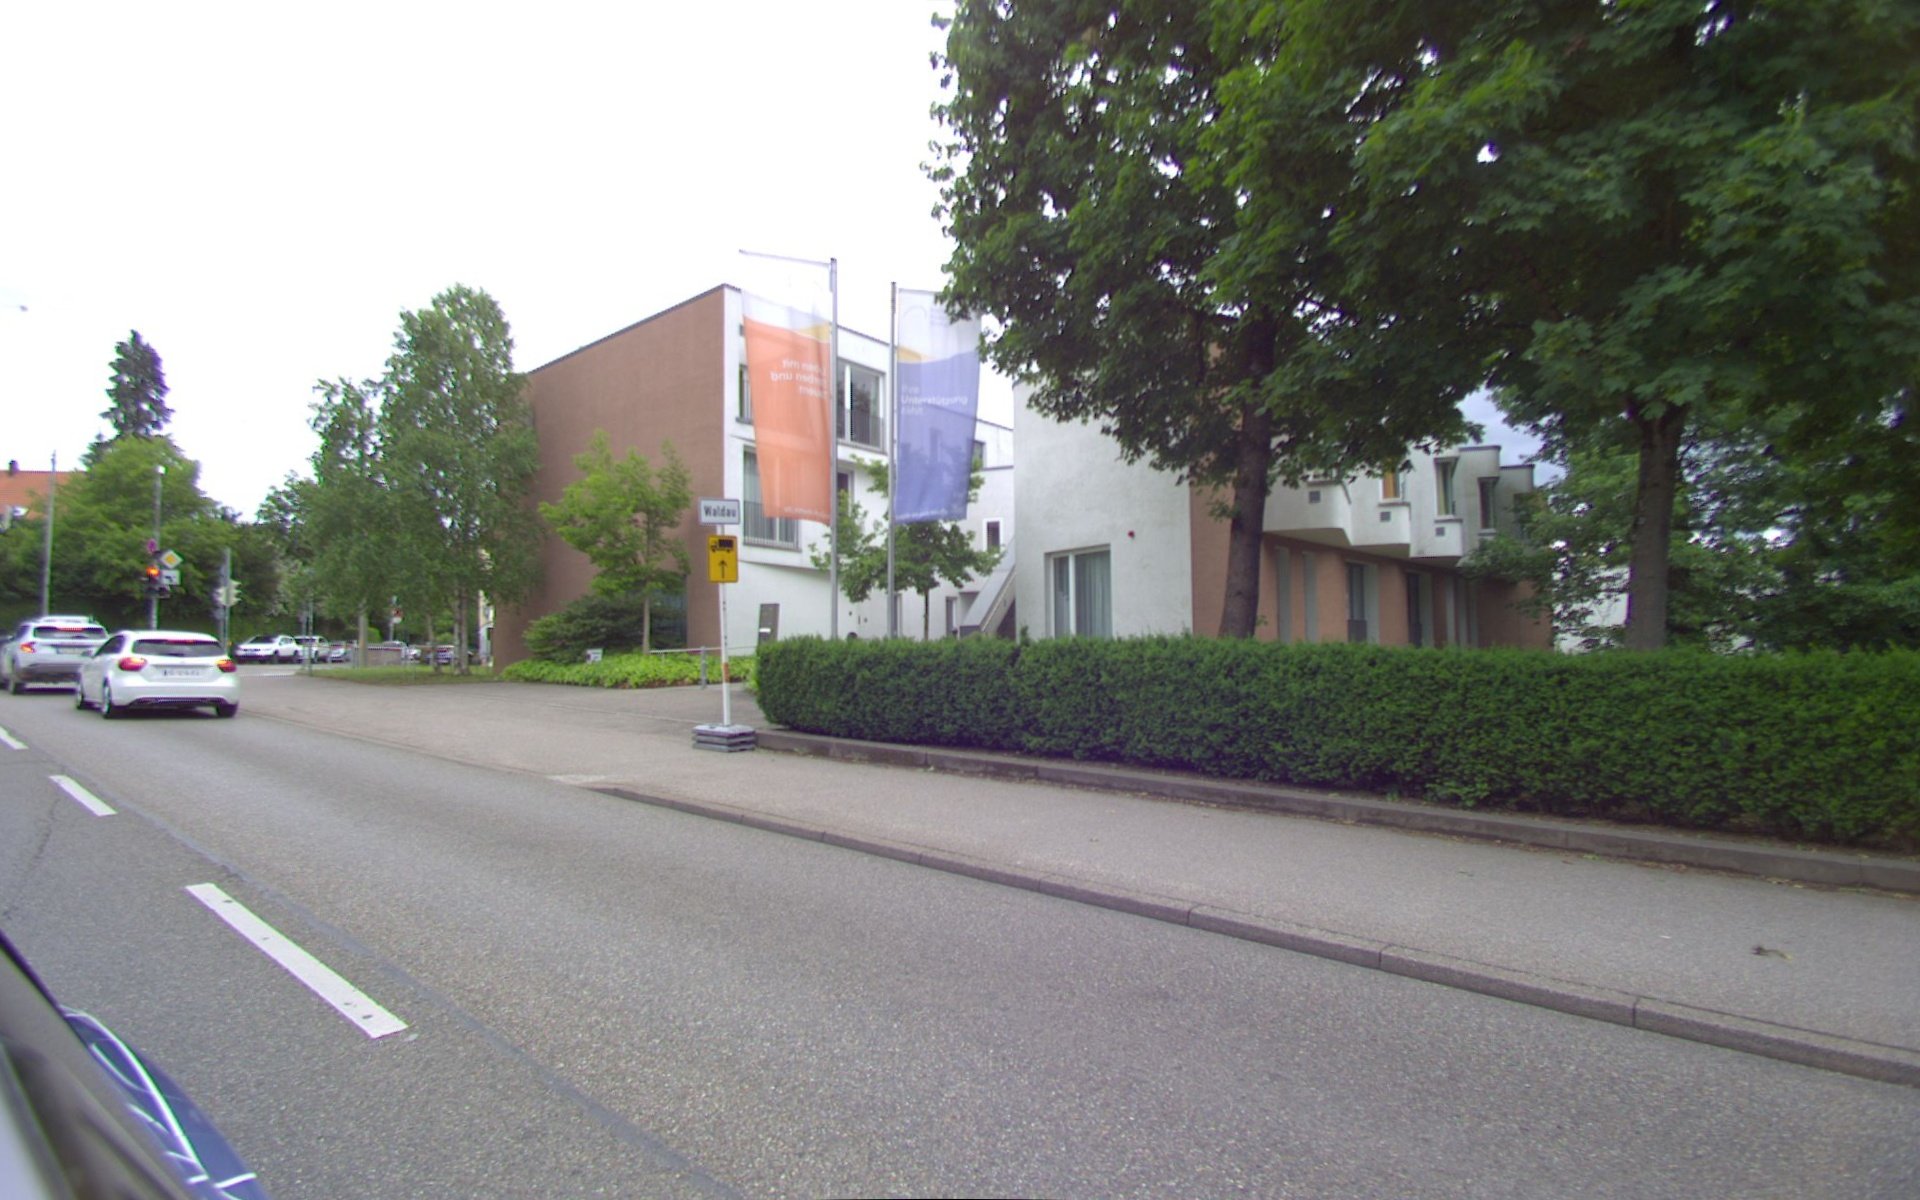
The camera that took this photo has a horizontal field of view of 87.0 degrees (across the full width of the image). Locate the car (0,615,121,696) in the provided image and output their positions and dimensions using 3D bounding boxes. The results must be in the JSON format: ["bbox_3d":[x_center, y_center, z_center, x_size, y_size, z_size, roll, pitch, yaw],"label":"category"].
[{"bbox_3d":[-20.771,1.251,23.120,4.300,1.650,1.750,-1,-6,42],"label":"car"}]

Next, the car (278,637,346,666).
[{"bbox_3d":[-38.795,3.114,60.681,1.968,1.625,4.008,2,-3,-10],"label":"car"}]

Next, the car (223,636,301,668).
[{"bbox_3d":[-37.950,2.827,55.127,1.968,1.625,4.008,2,-3,-10],"label":"car"}]

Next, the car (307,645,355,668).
[{"bbox_3d":[-41.078,3.679,66.171,1.840,1.464,3.742,1,-3,-20],"label":"car"}]

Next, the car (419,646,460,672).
[{"bbox_3d":[-30.804,3.509,59.993,1.848,1.460,4.013,3,-4,-23],"label":"car"}]

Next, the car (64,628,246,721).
[{"bbox_3d":[-14.074,1.238,17.620,4.064,1.432,1.747,-1,-4,42],"label":"car"}]

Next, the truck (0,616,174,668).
[{"bbox_3d":[-41.267,2.002,47.658,6.609,2.205,2.535,4,-4,-37],"label":"truck"}]
